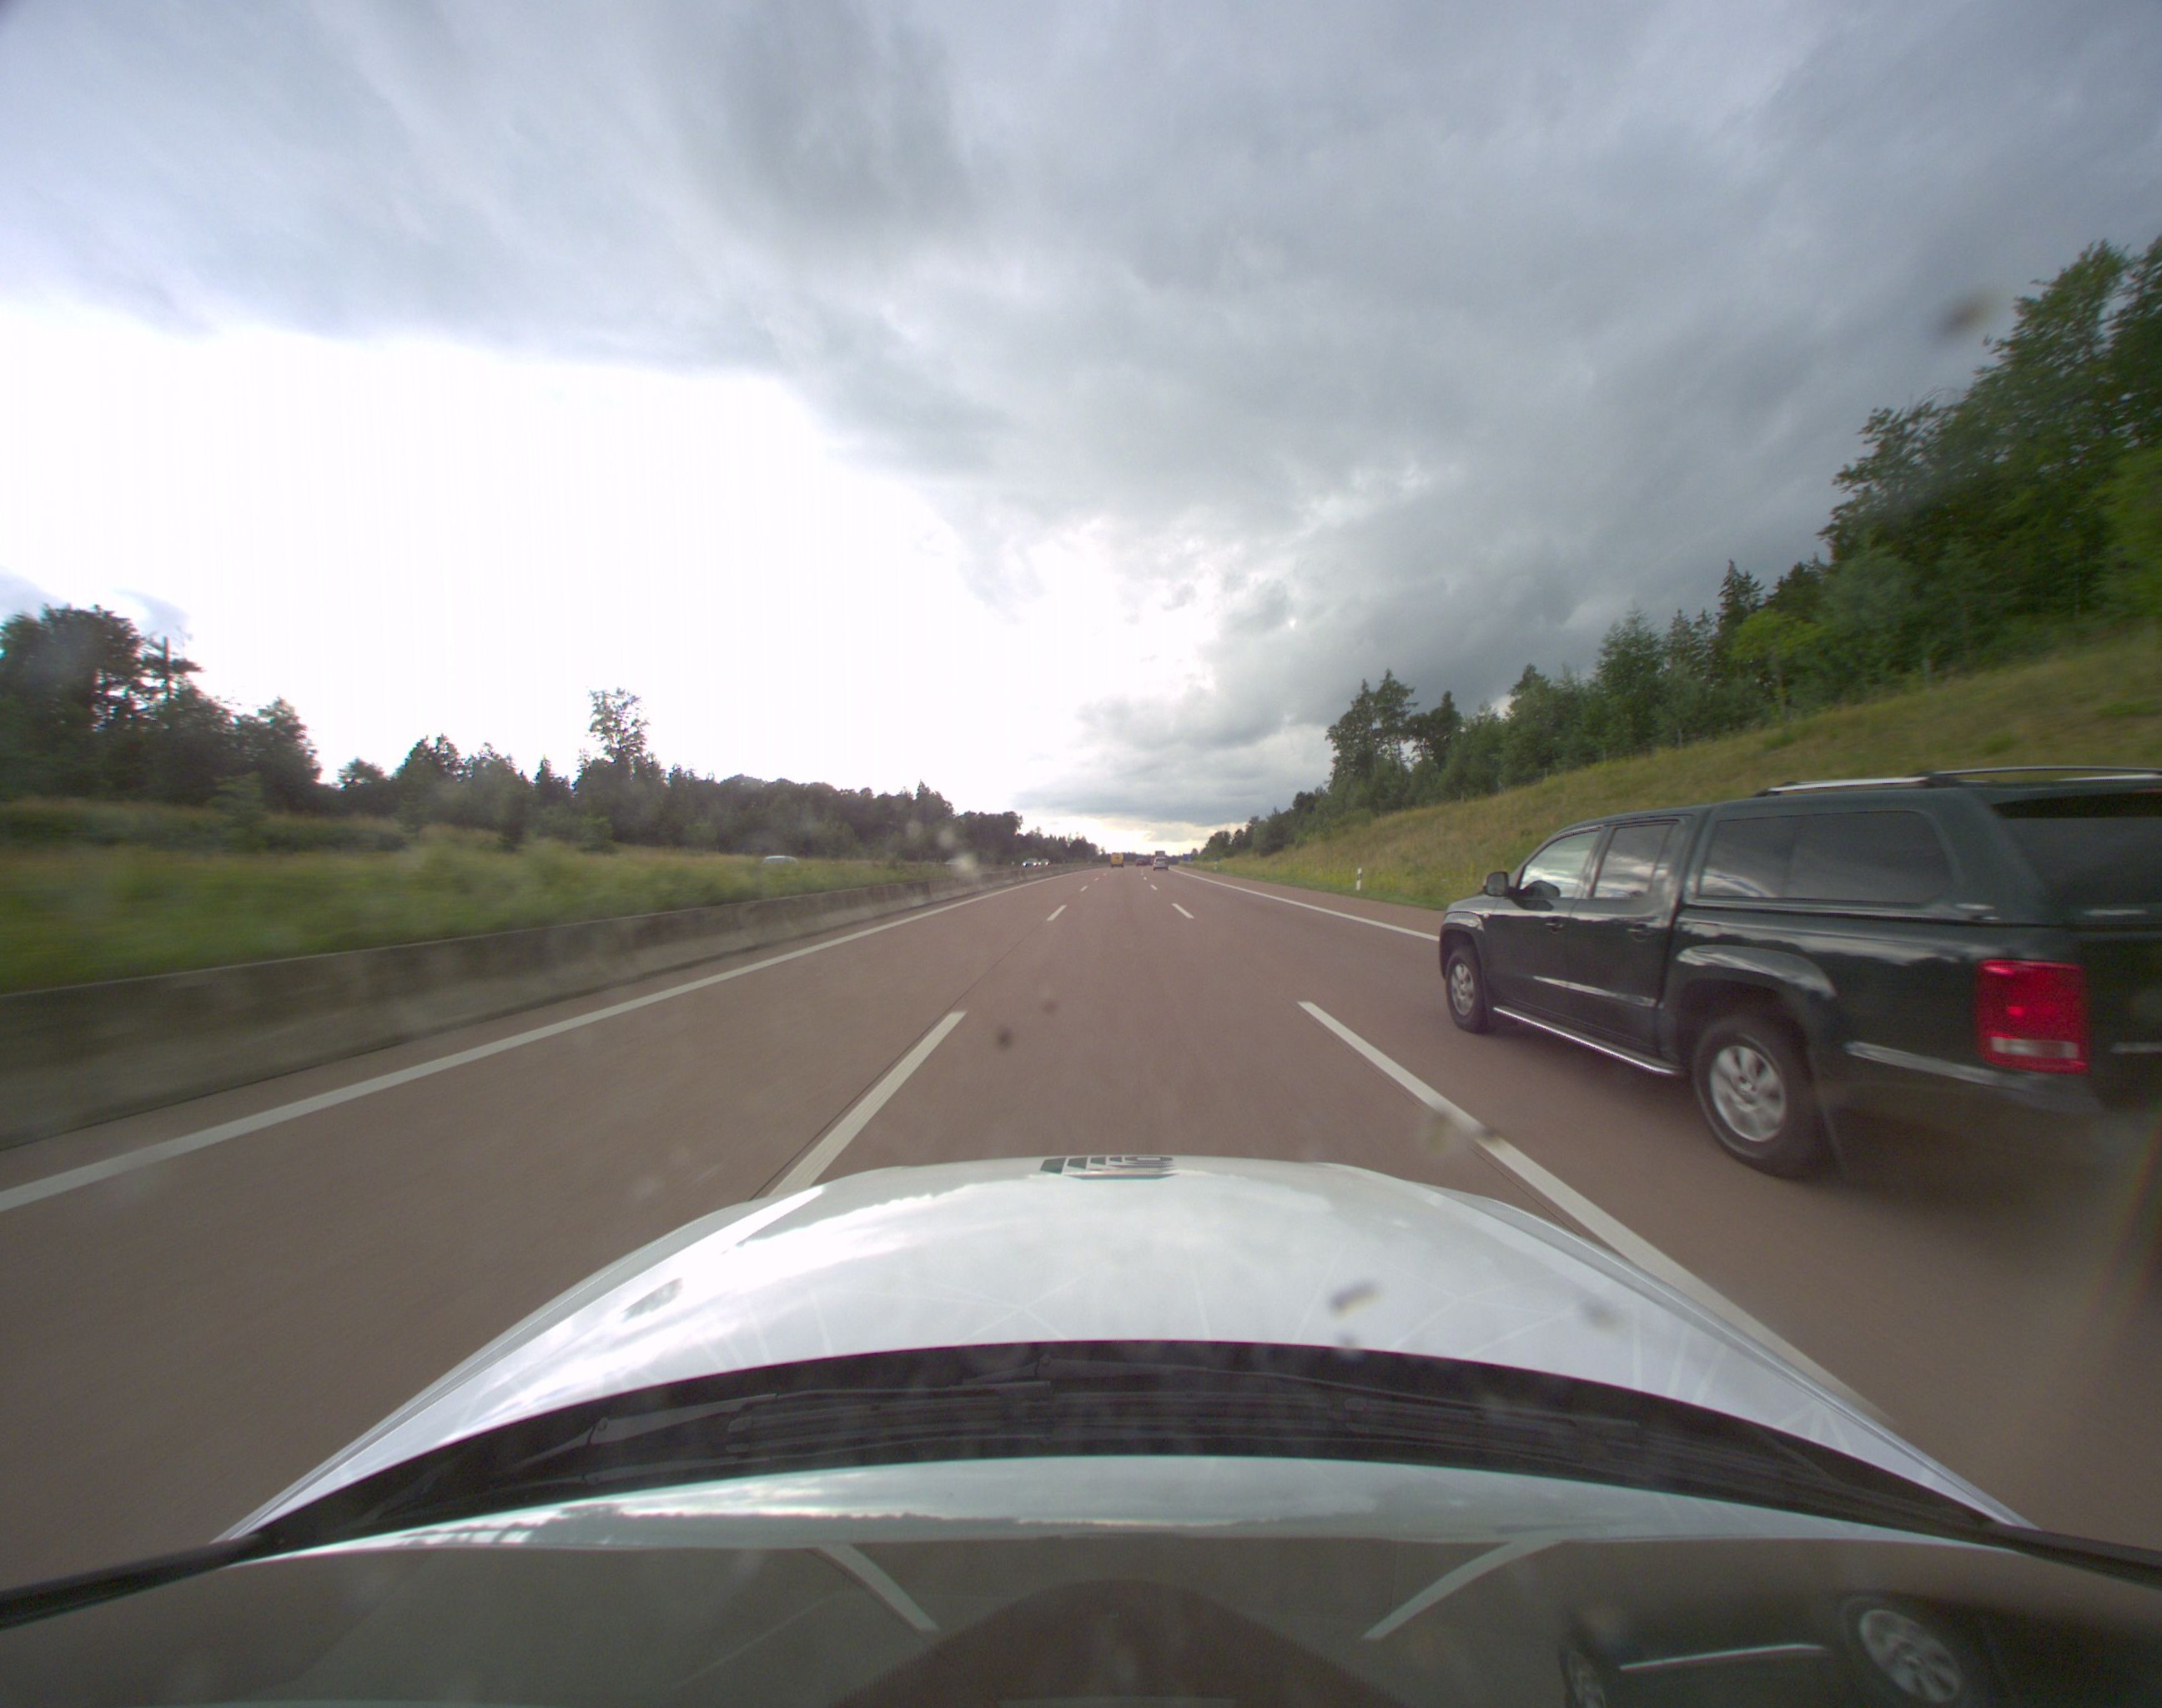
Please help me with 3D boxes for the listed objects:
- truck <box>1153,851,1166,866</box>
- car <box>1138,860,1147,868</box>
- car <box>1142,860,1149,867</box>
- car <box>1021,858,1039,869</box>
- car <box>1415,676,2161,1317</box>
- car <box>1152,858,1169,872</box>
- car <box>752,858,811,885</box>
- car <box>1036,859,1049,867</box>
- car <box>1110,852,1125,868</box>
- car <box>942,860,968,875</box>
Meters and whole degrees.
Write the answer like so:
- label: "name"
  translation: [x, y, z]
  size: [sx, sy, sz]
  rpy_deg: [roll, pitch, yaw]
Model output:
- label: "truck"
  translation: [22.119, 1.258, 229.879]
  size: [3.663, 3.913, 12.833]
  rpy_deg: [0, -1, 5]
- label: "car"
  translation: [13.375, 2.227, 178.043]
  size: [1.879, 1.764, 4.787]
  rpy_deg: [-2, -1, 4]
- label: "car"
  translation: [16.890, 2.591, 213.583]
  size: [1.878, 1.764, 5.004]
  rpy_deg: [-2, -1, 5]
- label: "car"
  translation: [-7.183, 1.376, 115.900]
  size: [1.722, 1.525, 4.254]
  rpy_deg: [-1, -2, 8]
- label: "car"
  translation: [4.235, 0.428, 5.194]
  size: [2.036, 1.897, 5.579]
  rpy_deg: [-1, -1, 2]
- label: "car"
  translation: [9.592, 1.304, 98.264]
  size: [1.968, 1.648, 4.626]
  rpy_deg: [0, 0, 6]
- label: "car"
  translation: [-18.146, 1.067, 49.612]
  size: [1.725, 1.525, 4.416]
  rpy_deg: [0, -1, 4]
- label: "car"
  translation: [-7.400, 1.698, 156.911]
  size: [1.920, 1.488, 4.429]
  rpy_deg: [0, -1, 5]
- label: "car"
  translation: [6.396, 1.013, 143.155]
  size: [2.448, 2.706, 5.619]
  rpy_deg: [-1, -1, 4]
- label: "car"
  translation: [-13.108, 1.407, 84.871]
  size: [1.725, 1.525, 4.416]
  rpy_deg: [0, -1, 4]
